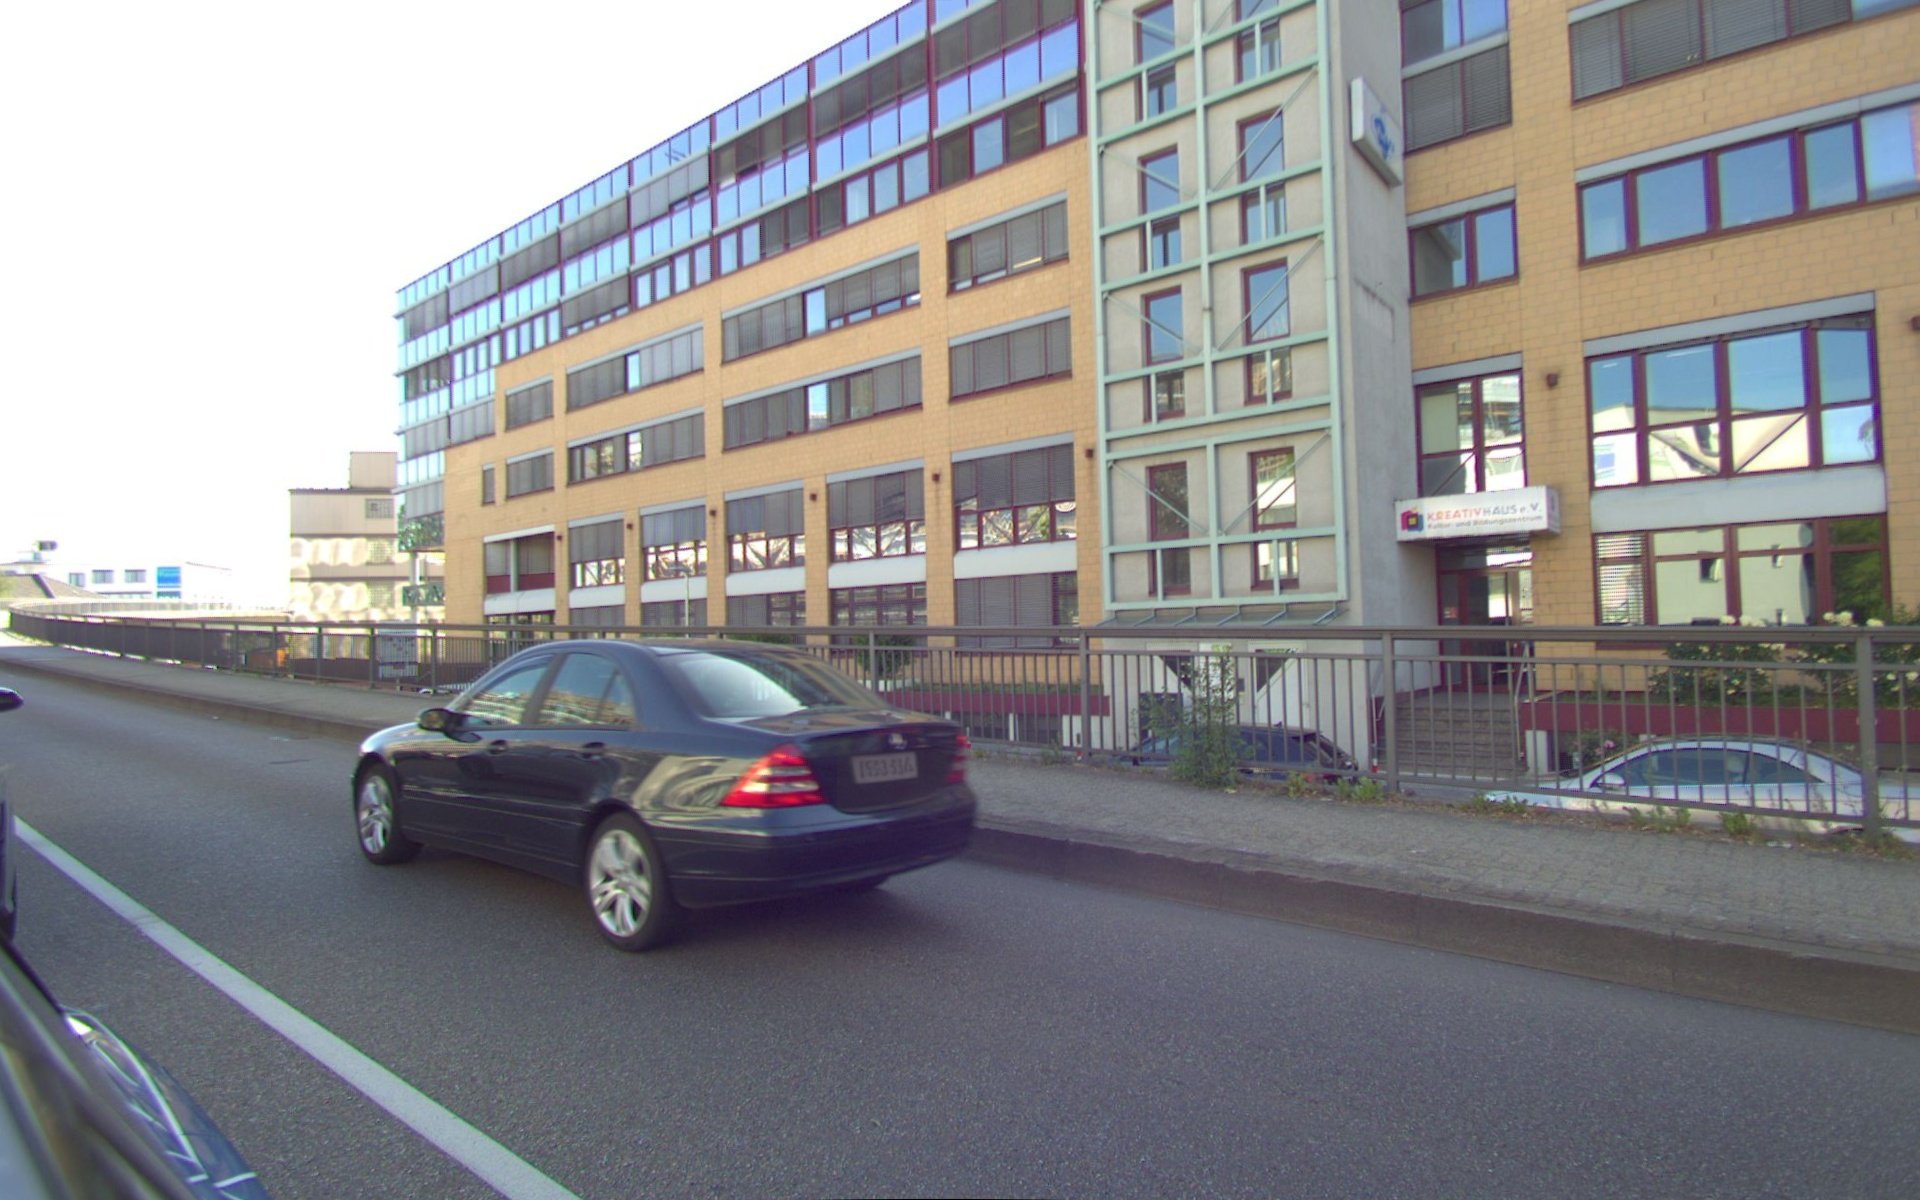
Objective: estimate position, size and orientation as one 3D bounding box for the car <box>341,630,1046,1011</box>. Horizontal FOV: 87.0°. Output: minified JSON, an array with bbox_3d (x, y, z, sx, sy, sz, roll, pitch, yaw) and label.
[{"bbox_3d":[-1.729,0.894,5.781,4.195,1.418,1.725,-2,-3,38],"label":"car"}]

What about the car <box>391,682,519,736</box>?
[{"bbox_3d":[-13.815,2.921,27.628,3.805,1.279,1.744,-3,-4,40],"label":"car"}]

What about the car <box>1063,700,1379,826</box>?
[{"bbox_3d":[3.405,2.071,13.571,3.805,1.279,1.560,-3,-4,40],"label":"car"}]

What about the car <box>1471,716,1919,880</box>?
[{"bbox_3d":[7.689,1.883,10.207,4.254,1.175,1.704,-3,-4,40],"label":"car"}]

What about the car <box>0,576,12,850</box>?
[{"bbox_3d":[-5.841,0.777,4.661,3.998,1.660,1.726,-3,-4,41],"label":"car"}]

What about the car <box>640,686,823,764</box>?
[{"bbox_3d":[-4.590,2.420,20.128,3.805,1.279,1.560,-3,-4,40],"label":"car"}]
